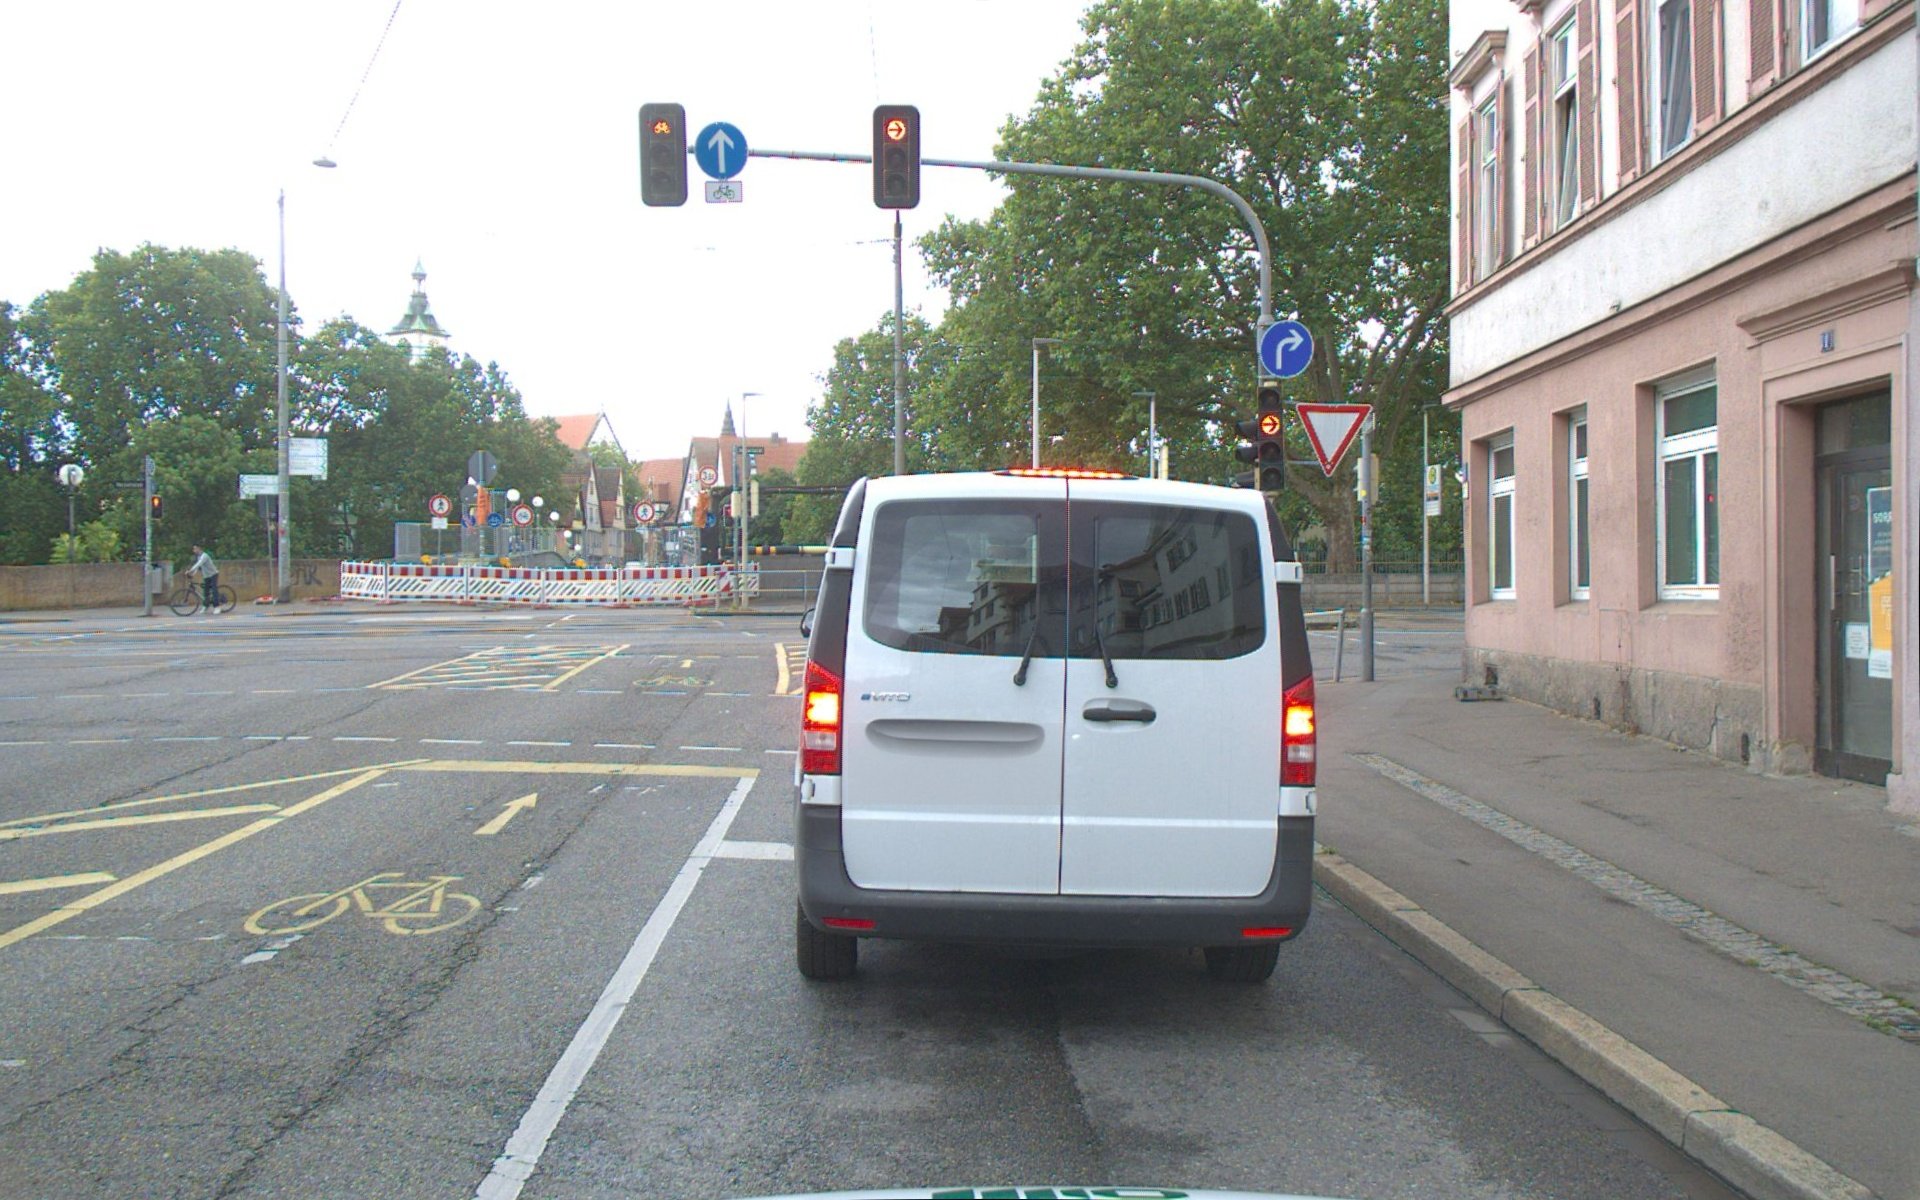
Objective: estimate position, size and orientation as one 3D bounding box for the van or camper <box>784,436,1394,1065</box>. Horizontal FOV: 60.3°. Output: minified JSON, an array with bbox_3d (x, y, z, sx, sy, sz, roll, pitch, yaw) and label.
[{"bbox_3d":[0.270,0.405,7.418,1.899,1.958,4.438,1,2,-4],"label":"van or camper"}]

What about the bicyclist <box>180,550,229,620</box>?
[{"bbox_3d":[-19.464,-0.401,42.616,0.996,1.774,0.743,-1,2,-43],"label":"bicyclist"}]

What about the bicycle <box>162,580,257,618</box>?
[{"bbox_3d":[-19.368,-0.032,42.724,2.122,0.907,0.748,-2,2,-44],"label":"bicycle"}]

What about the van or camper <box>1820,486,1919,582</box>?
[{"bbox_3d":[27.175,-1.825,46.108,5.278,2.558,2.037,0,-1,3],"label":"van or camper"}]
